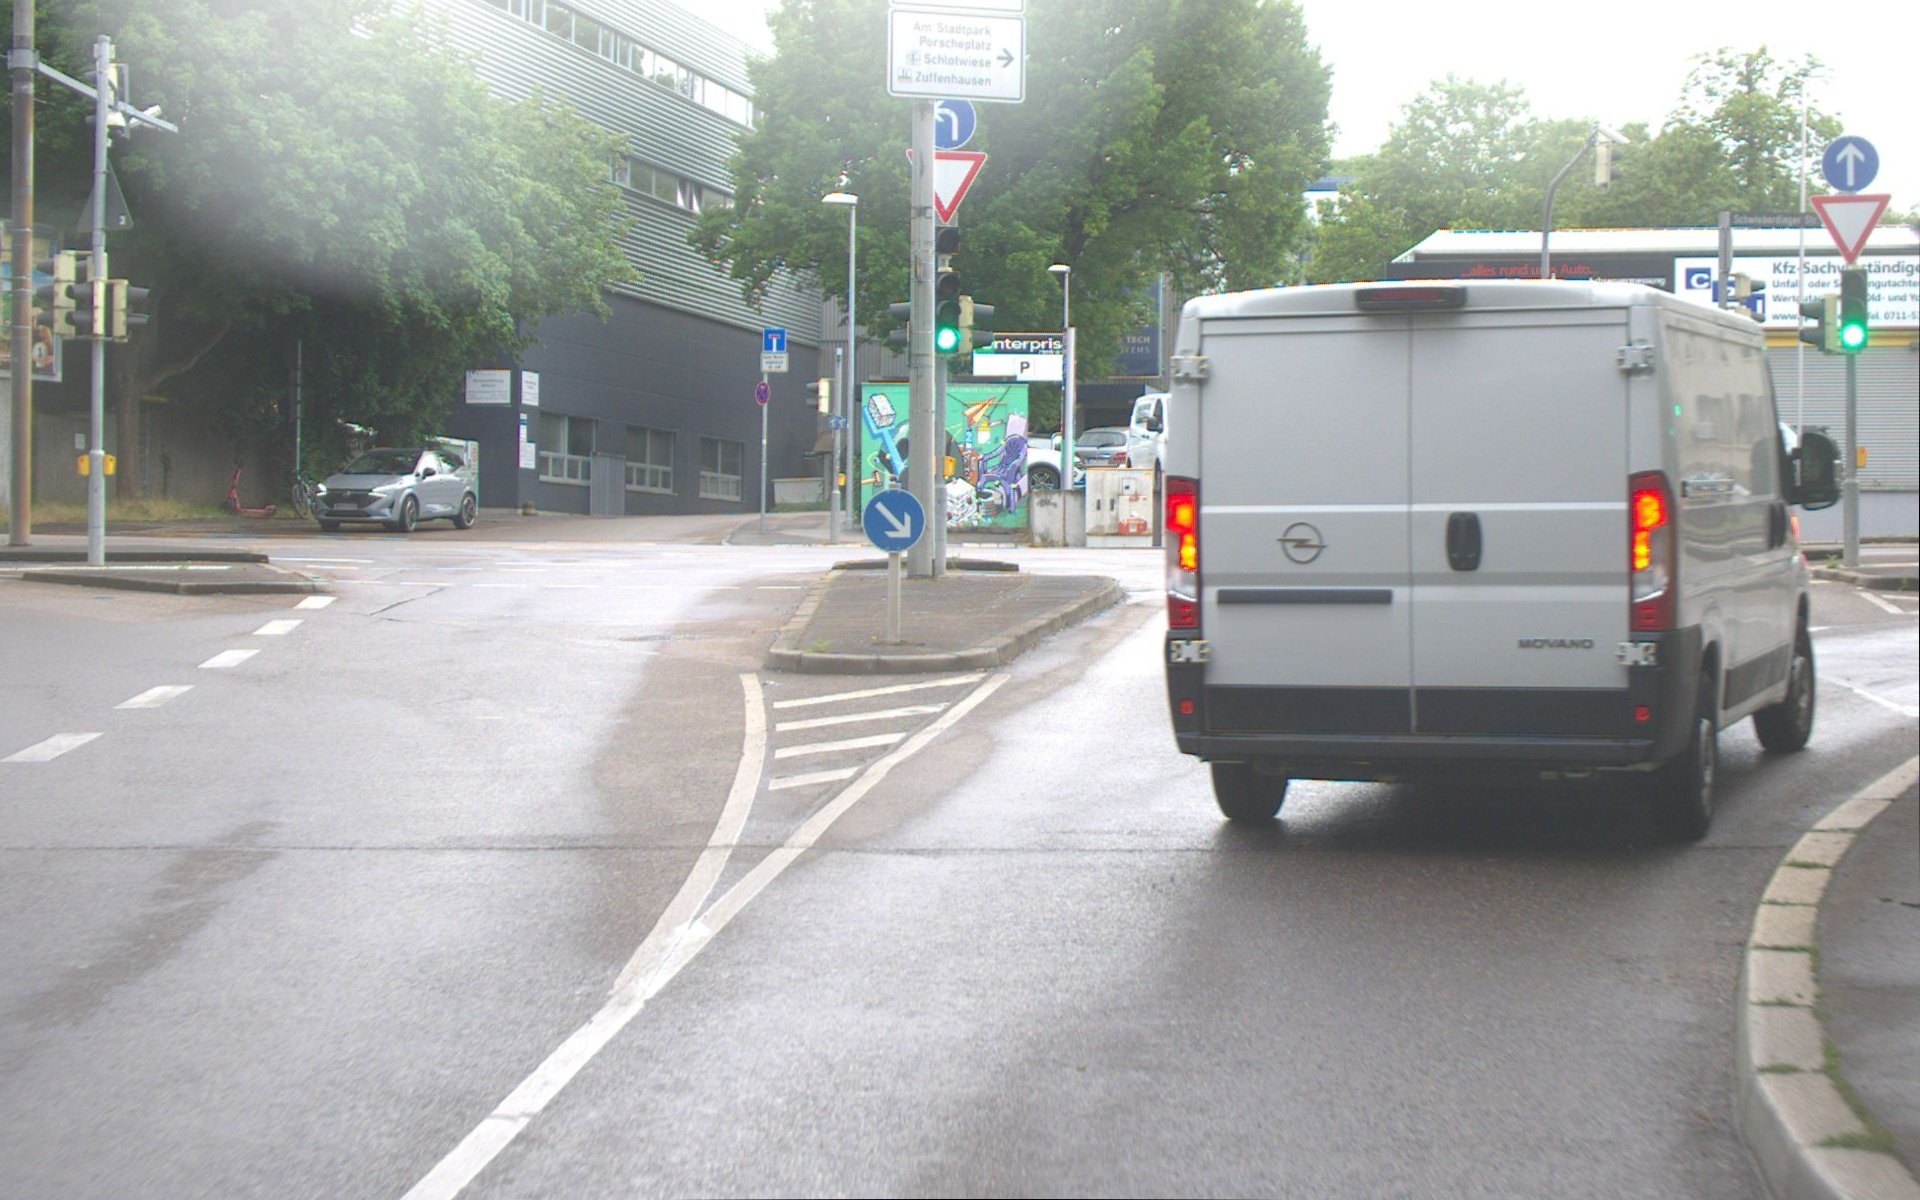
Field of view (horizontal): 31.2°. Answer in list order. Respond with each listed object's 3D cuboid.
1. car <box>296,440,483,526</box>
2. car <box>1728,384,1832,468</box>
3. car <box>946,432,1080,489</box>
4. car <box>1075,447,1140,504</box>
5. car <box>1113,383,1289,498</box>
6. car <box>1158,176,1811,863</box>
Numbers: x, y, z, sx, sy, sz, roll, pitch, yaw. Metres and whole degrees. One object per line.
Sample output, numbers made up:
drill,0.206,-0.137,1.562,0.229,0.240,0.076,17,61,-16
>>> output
car,-11.077,-2.315,67.077,2.029,1.594,4.380,1,3,14
car,14.188,-3.015,59.577,1.223,1.419,2.687,0,3,2
car,1.100,-2.901,71.742,2.713,1.101,1.198,1,0,-3
car,3.554,-2.977,82.617,1.209,1.299,2.337,1,0,11
car,4.227,-2.793,61.239,2.212,1.795,5.373,1,0,-6
car,2.503,-0.479,15.208,2.052,2.507,4.940,1,4,18
